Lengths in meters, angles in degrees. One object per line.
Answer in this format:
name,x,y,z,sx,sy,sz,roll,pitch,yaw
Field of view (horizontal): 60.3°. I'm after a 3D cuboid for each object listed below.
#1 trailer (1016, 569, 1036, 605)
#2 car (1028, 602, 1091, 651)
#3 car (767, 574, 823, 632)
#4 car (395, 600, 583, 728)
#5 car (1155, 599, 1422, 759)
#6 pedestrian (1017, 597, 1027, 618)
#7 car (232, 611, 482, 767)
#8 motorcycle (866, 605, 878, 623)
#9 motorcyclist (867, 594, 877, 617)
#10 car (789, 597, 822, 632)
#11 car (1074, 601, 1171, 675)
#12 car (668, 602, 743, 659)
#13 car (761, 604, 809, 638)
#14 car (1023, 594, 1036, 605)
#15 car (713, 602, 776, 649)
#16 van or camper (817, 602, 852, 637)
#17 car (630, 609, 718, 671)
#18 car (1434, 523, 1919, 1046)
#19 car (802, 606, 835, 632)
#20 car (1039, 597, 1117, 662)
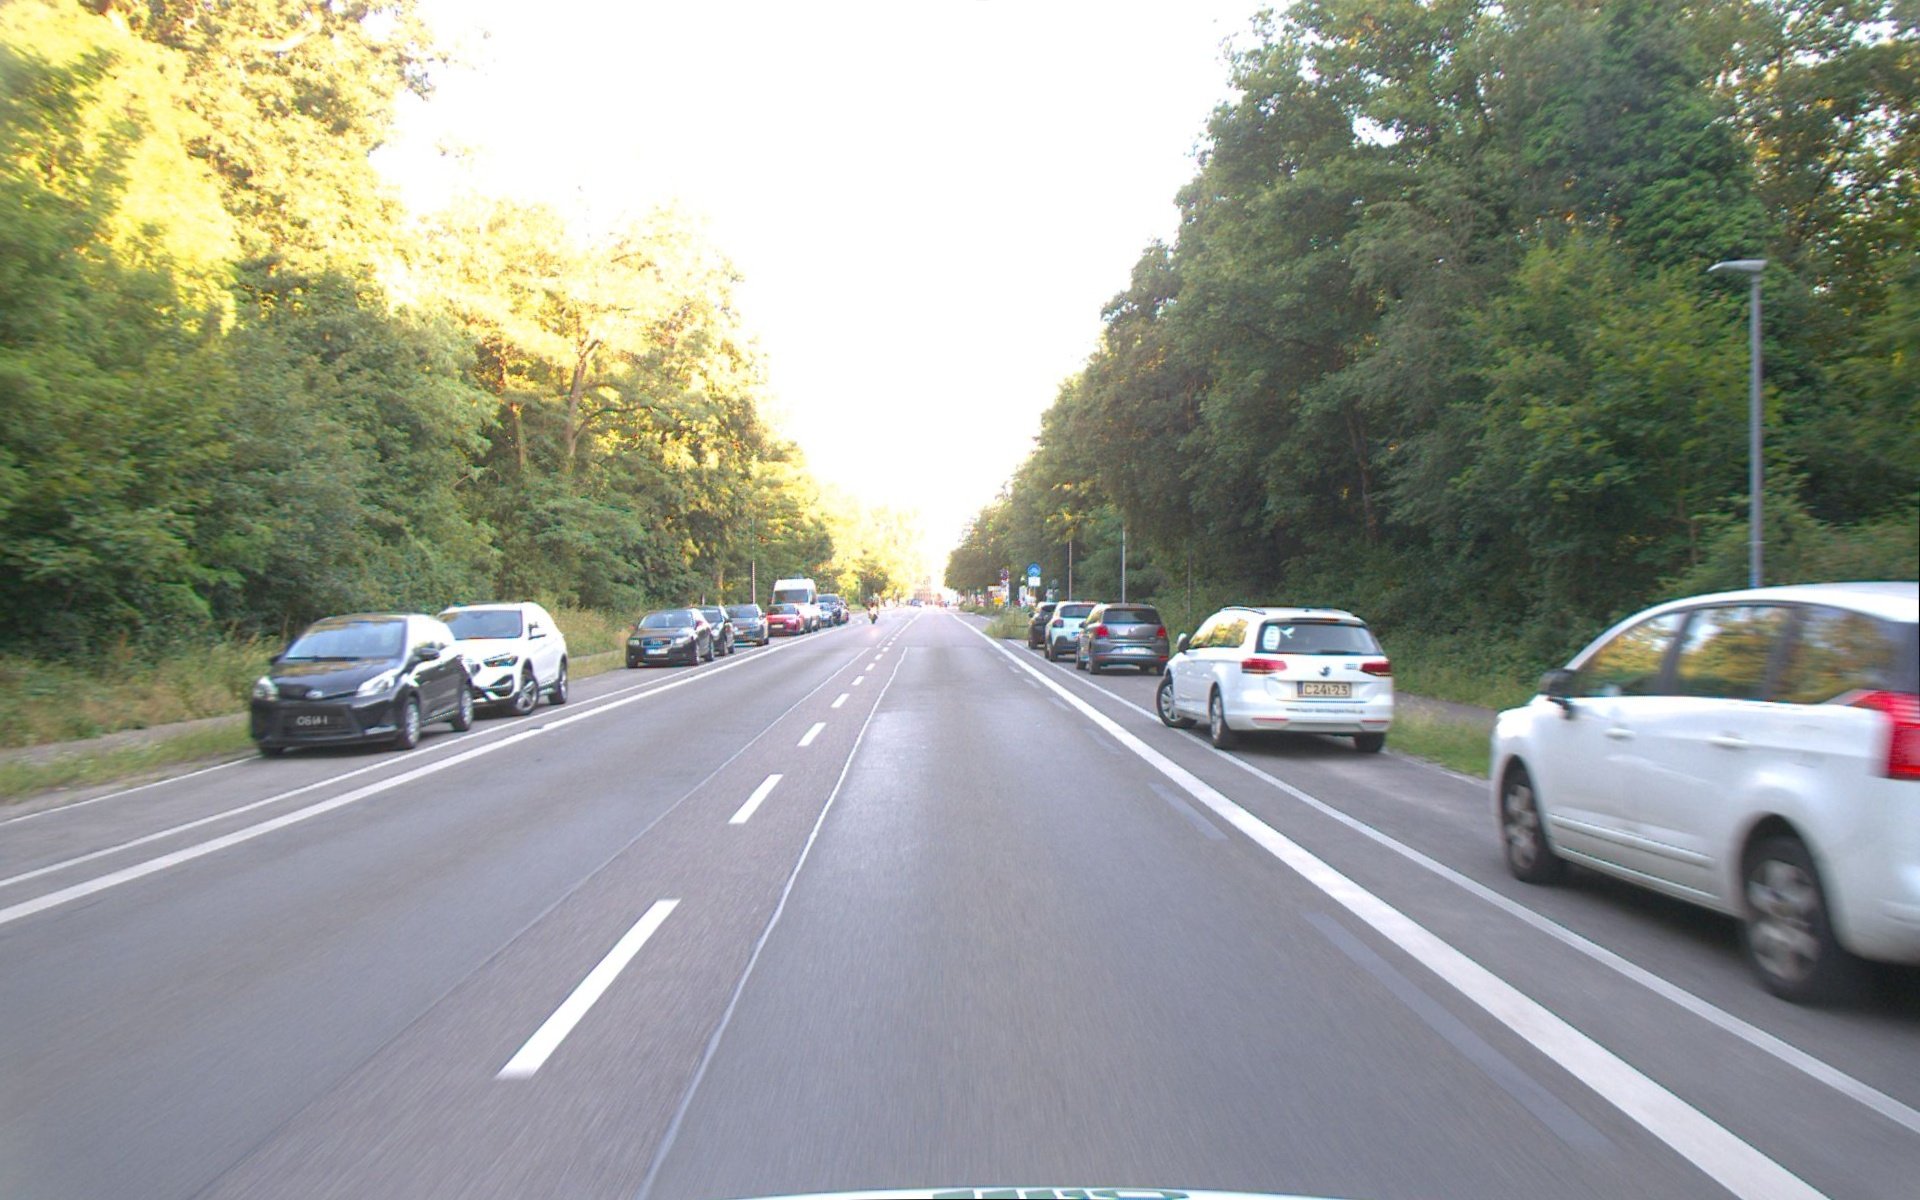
trailer,10.349,-1.978,260.192,2.958,5.558,7.934,0,0,0
car,3.098,0.803,52.108,1.676,1.470,4.121,0,0,-1
car,-8.138,0.163,82.138,2.037,2.652,7.087,-3,0,-1
car,-6.956,0.872,24.904,1.661,1.675,4.570,-2,0,-3
car,3.497,0.773,18.542,1.807,1.520,4.756,0,0,-3
pedestrian,5.377,0.639,143.317,0.821,1.782,0.726,0,-1,0
car,-6.877,0.944,19.252,1.638,1.546,3.734,-2,0,-3
motorcycle,-5.820,0.909,109.266,0.598,1.146,1.962,-1,0,2
motorcyclist,-5.820,0.365,109.355,0.591,1.556,0.995,-1,0,1
car,-8.566,0.780,92.084,1.654,1.890,4.384,0,0,-3
car,3.440,0.777,35.622,1.547,1.472,3.959,-1,0,-2
car,-7.429,0.864,48.539,1.677,1.535,3.655,-2,0,-2
car,-7.880,0.932,74.828,1.681,1.455,4.387,-1,0,0
car,10.313,-0.046,244.999,1.733,1.611,4.820,1,-1,3
car,-7.533,0.871,58.090,1.809,1.488,4.226,-3,0,-3
van or camper,-8.038,1.230,106.426,1.963,2.053,5.458,-3,0,-3
car,-7.162,0.960,41.724,1.565,1.419,4.050,-1,0,-2
car,4.035,0.648,8.102,1.815,1.795,4.721,1,0,-3
car,-8.524,1.106,99.597,1.636,1.458,4.446,-2,0,-1
car,2.994,0.722,42.517,1.654,1.573,4.111,-1,0,-1
